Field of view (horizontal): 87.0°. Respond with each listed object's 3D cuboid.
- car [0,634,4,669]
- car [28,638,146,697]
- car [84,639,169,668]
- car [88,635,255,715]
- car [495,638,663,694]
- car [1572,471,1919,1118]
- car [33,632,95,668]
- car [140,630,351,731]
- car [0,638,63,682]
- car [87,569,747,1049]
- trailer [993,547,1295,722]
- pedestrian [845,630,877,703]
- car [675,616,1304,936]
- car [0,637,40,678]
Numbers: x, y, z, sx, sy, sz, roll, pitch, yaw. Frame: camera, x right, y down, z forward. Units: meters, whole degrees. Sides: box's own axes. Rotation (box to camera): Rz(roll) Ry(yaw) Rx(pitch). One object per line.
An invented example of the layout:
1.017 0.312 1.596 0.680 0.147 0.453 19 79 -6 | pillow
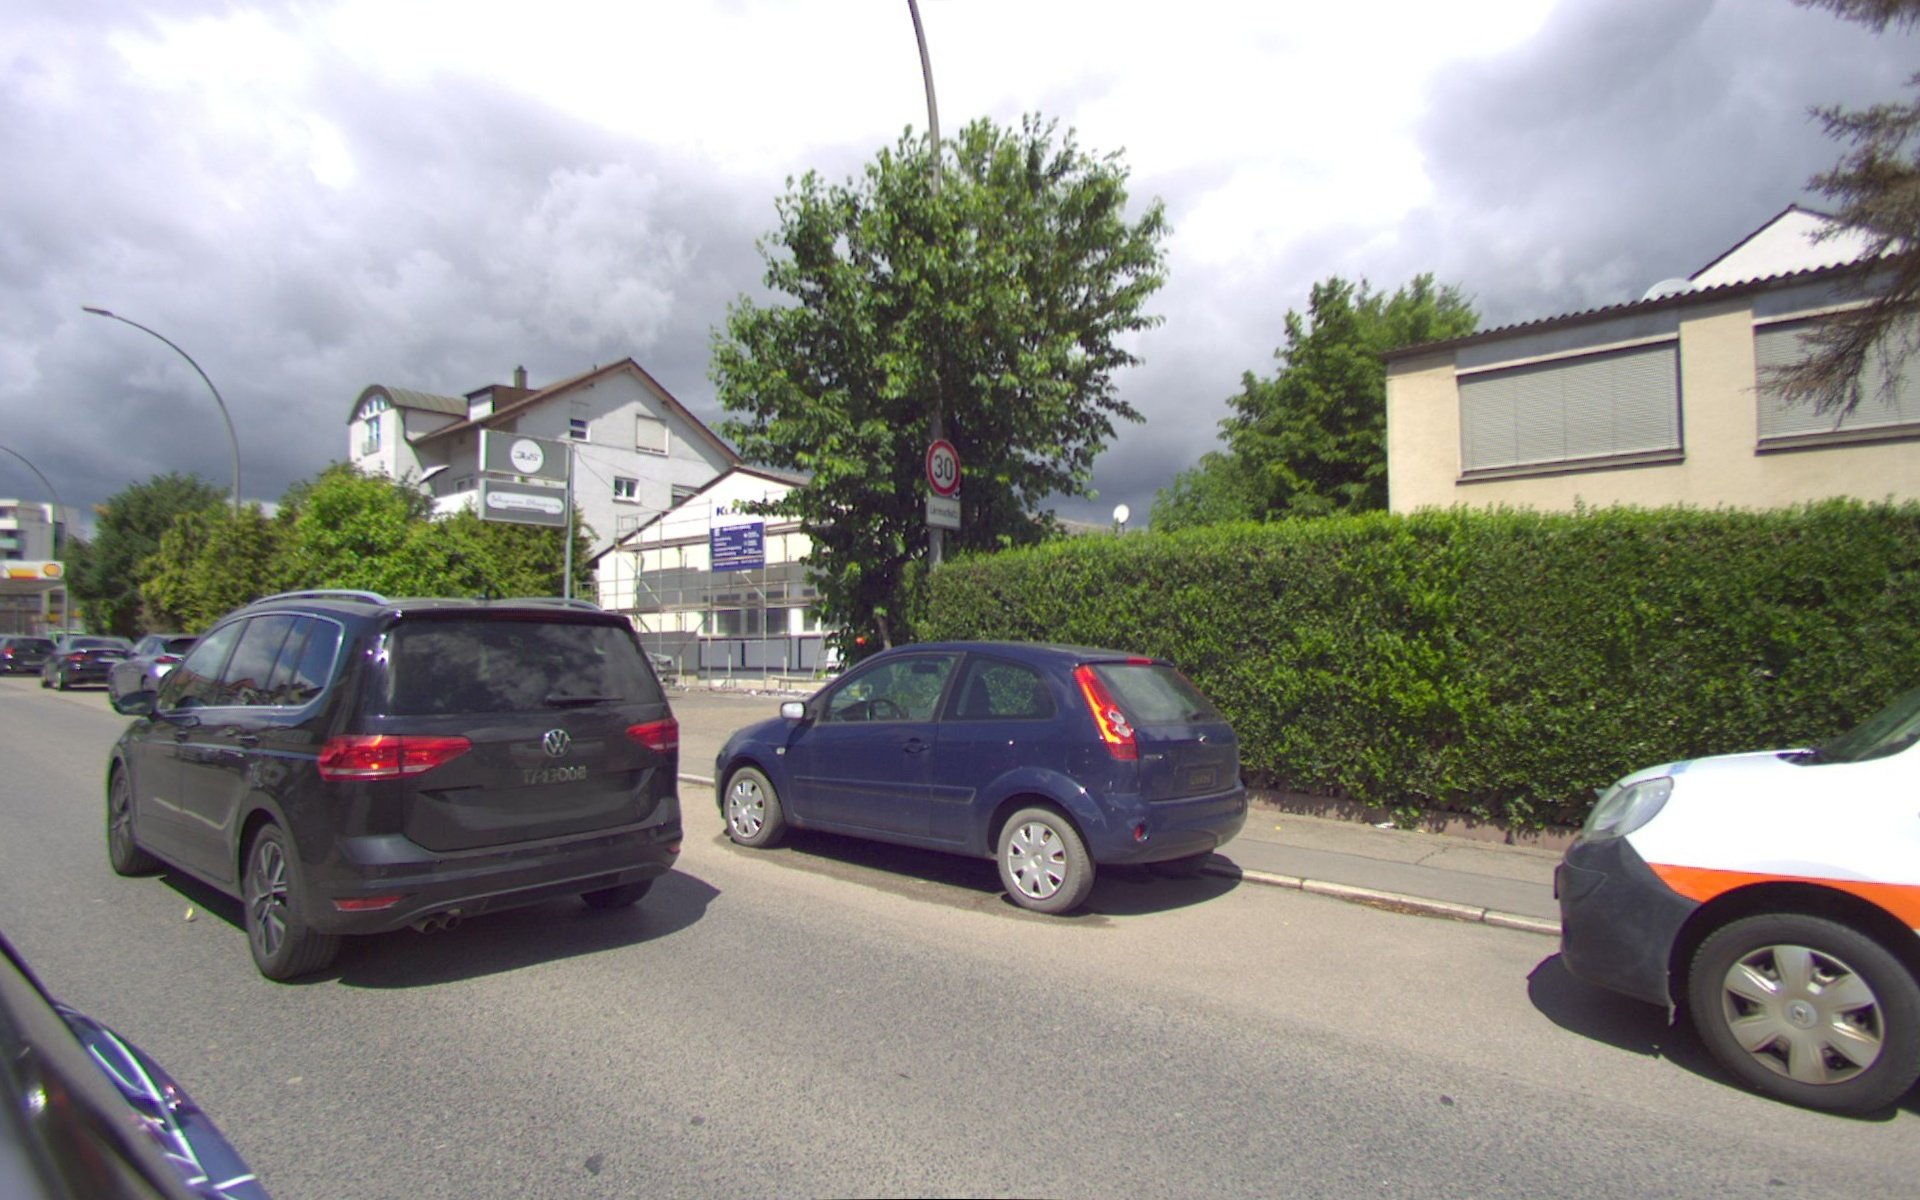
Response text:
-45.103 2.427 45.858 5.425 1.835 1.891 -3 -6 41 | car
-22.755 1.726 26.329 4.335 1.425 1.645 -3 -4 41 | car
-57.923 3.665 70.462 1.947 1.866 4.984 -1 -2 -1 | car
-15.908 1.474 20.353 4.195 1.443 1.702 -2 -5 39 | car
-10.258 1.802 27.541 3.935 1.398 1.896 2 -4 -9 | car
4.330 0.573 2.745 4.351 1.852 1.726 -2 -6 40 | car
-46.796 2.599 52.840 4.334 1.799 1.774 -2 -2 40 | car
-12.264 1.308 17.250 4.730 1.504 1.702 -2 -4 39 | car
-32.885 2.084 35.363 4.335 1.446 1.645 -3 -5 41 | car
-3.224 0.792 5.554 4.352 1.640 1.725 -2 -2 40 | car
3.615 0.758 18.665 2.730 2.672 6.176 -2 -5 41 | trailer
-2.297 1.545 23.530 0.497 1.660 0.518 -2 -5 40 | pedestrian
0.011 0.951 6.705 3.996 1.498 1.623 -2 -6 40 | car
-36.716 2.195 38.735 3.942 1.523 1.645 -3 -6 40 | car
